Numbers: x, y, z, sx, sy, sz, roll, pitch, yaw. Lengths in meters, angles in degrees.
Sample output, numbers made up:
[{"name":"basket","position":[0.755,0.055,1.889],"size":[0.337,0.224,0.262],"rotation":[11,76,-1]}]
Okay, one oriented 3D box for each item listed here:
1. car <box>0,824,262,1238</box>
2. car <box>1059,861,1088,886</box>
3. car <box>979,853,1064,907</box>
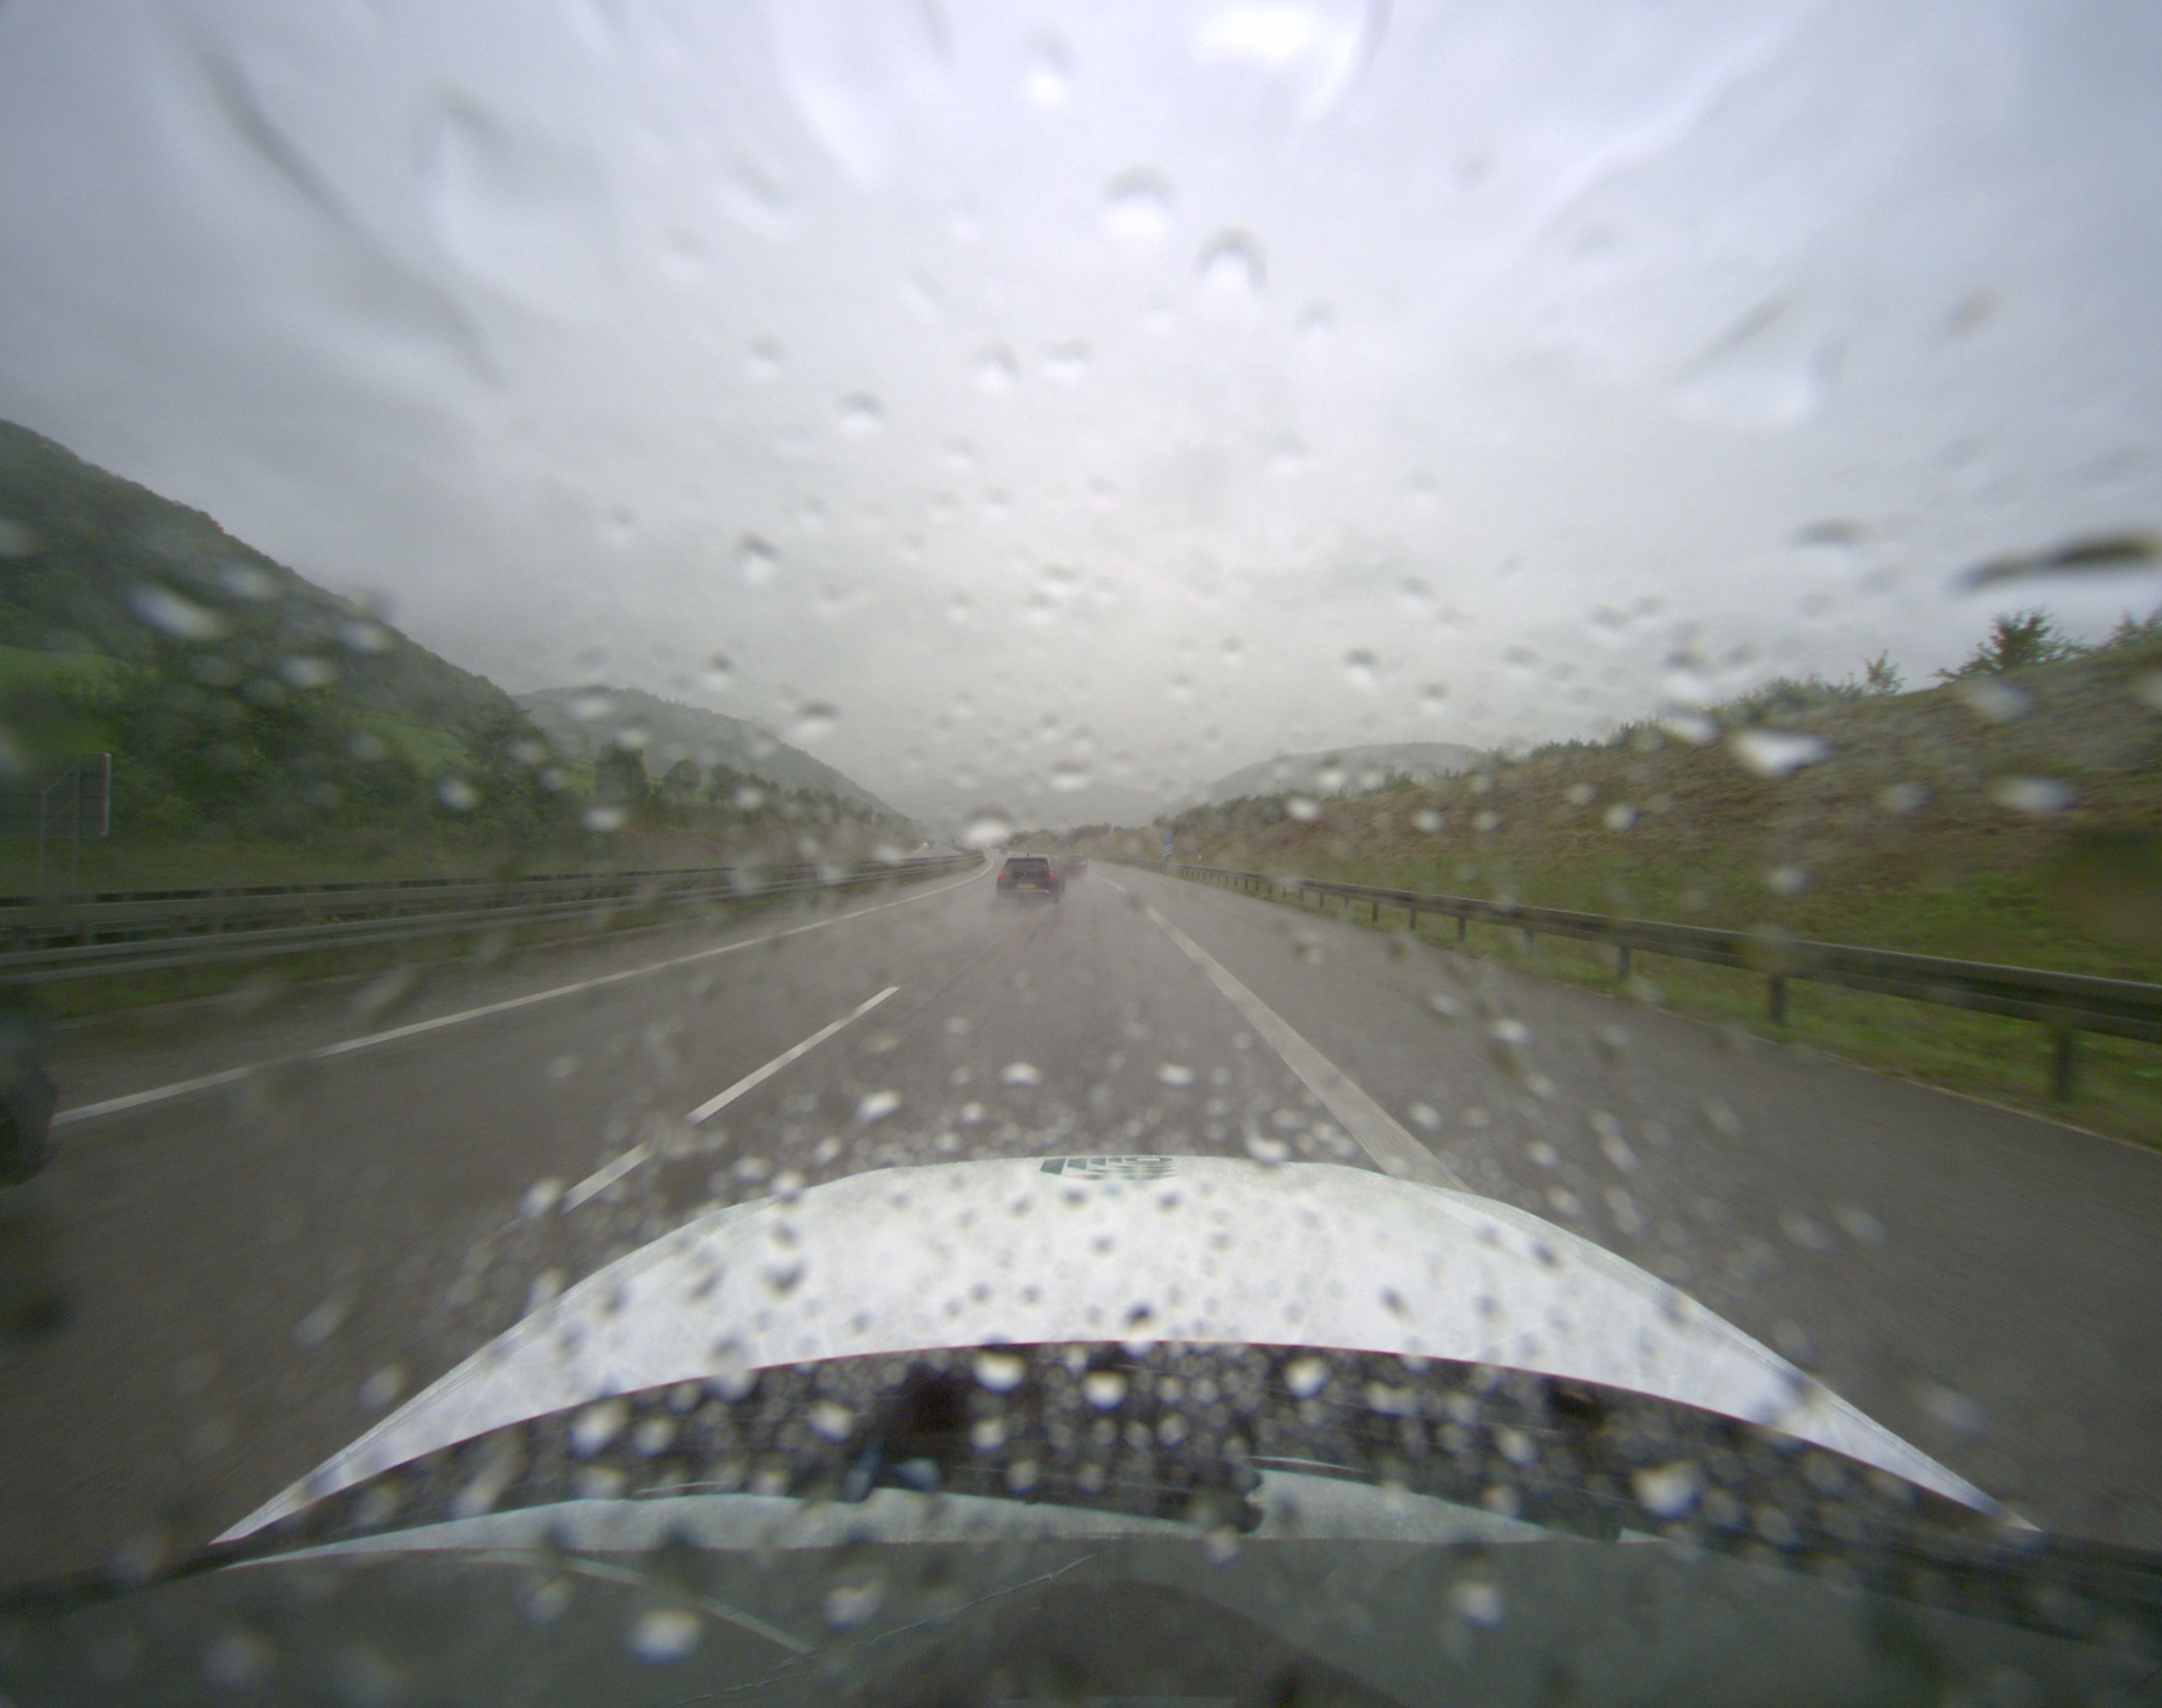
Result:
[{"name":"car","position":[-5.479,0.771,1.887],"size":[1.985,1.683,4.913],"rotation":[-2,1,3]},{"name":"car","position":[-0.481,1.160,49.817],"size":[1.674,1.472,3.813],"rotation":[1,-1,-1]},{"name":"car","position":[-1.821,0.779,25.638],"size":[2.400,1.515,4.778],"rotation":[1,-1,-3]}]
